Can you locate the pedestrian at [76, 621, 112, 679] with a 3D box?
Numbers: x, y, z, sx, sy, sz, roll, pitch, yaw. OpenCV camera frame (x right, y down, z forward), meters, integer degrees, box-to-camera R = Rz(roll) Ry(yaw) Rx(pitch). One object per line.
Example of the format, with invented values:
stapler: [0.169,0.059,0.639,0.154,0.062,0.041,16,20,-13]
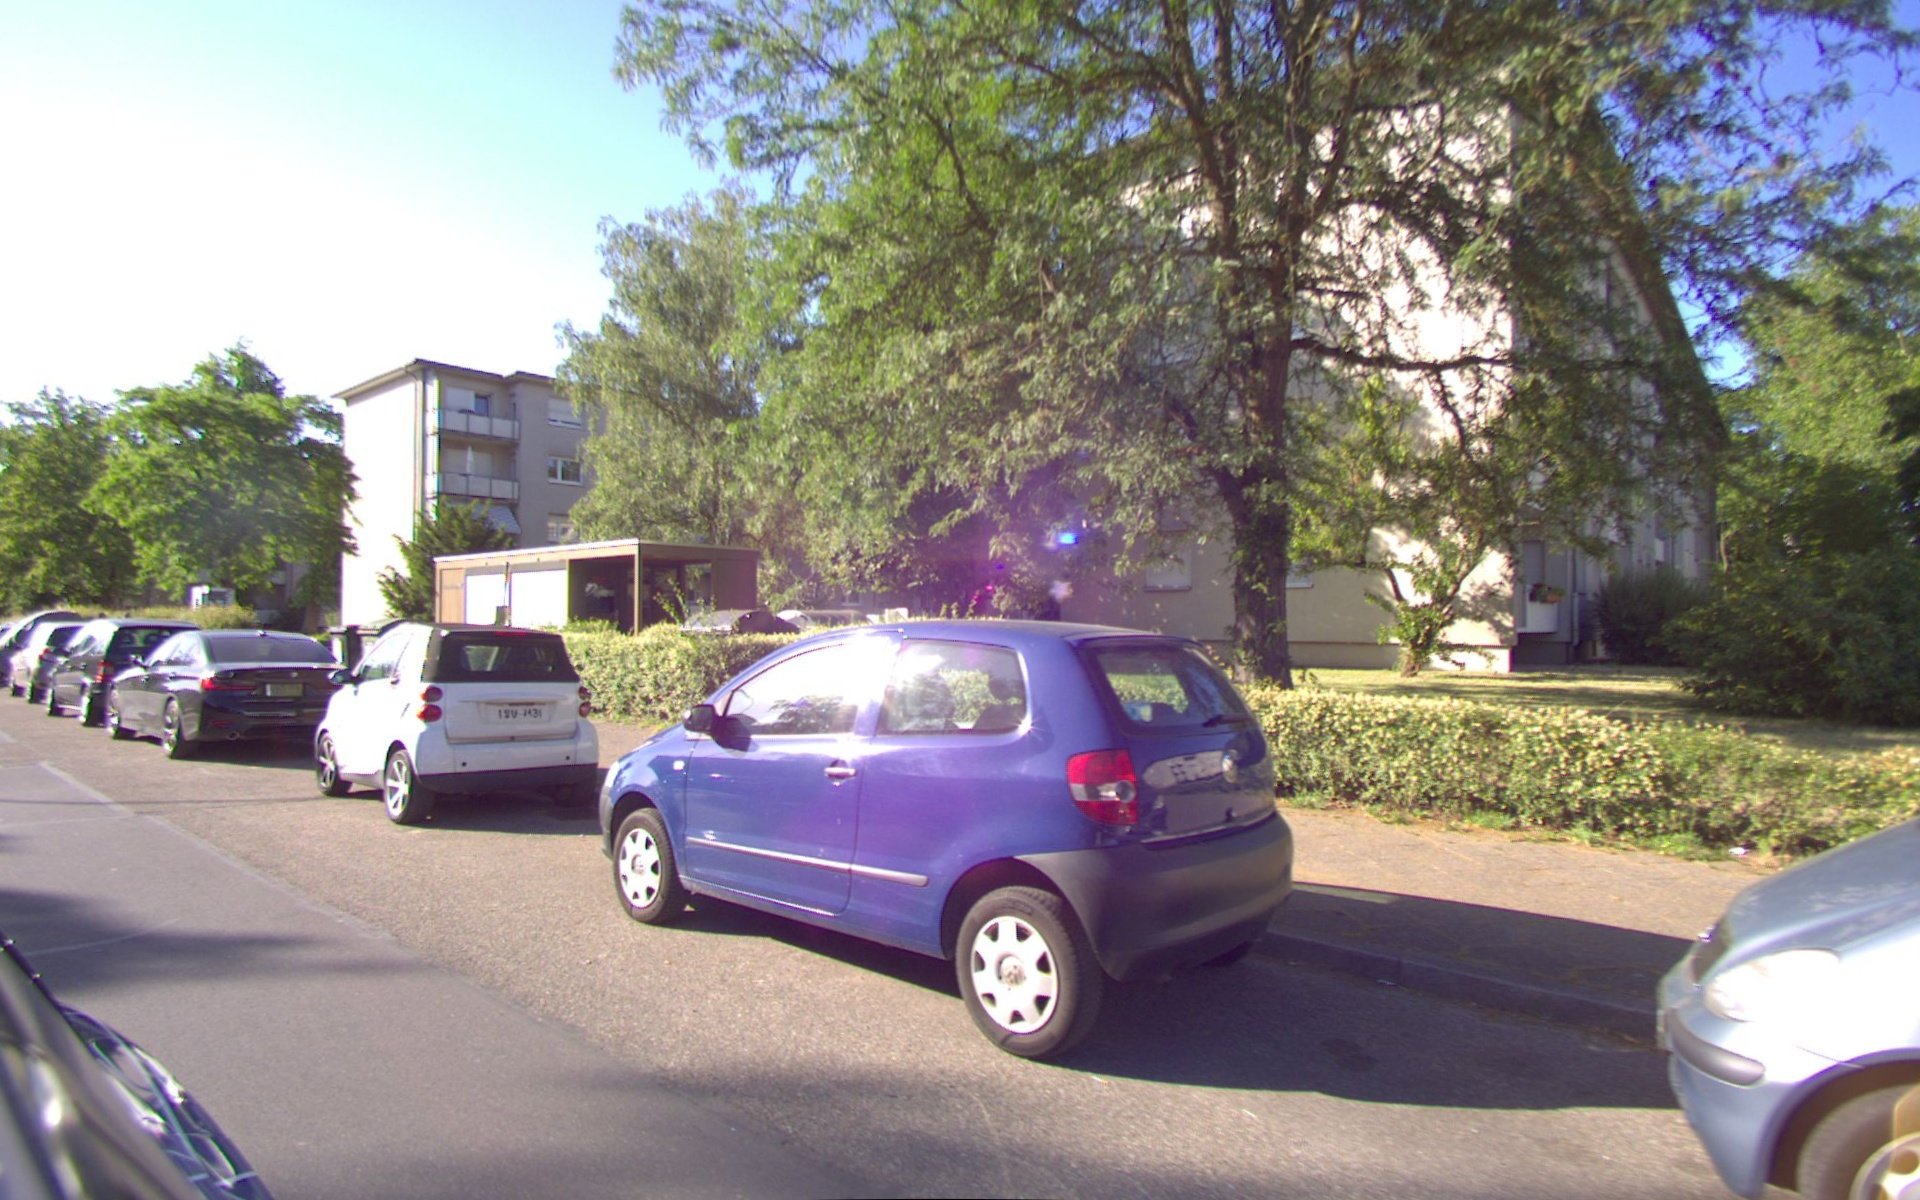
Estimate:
pedestrian: [-25.760,1.489,30.091,0.616,1.692,0.713,-2,-2,40]

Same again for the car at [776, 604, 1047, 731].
car: [-0.804,0.918,15.040,3.995,1.653,1.555,-1,-1,39]

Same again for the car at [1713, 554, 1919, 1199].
car: [3.569,0.717,1.766,3.531,1.618,1.619,-1,-3,39]

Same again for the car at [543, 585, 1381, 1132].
car: [-0.244,0.852,5.002,3.966,1.618,1.736,-2,-4,41]

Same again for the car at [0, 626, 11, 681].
car: [-30.991,1.612,31.386,4.367,1.648,1.736,-2,-4,40]

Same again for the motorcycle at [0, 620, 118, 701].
motorcycle: [-20.475,1.359,22.686,0.931,1.740,2.235,-1,-4,37]

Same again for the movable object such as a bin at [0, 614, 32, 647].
movable object such as a bin: [-43.230,1.394,46.244,1.325,1.426,0.992,-1,1,39]

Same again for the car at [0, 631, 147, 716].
car: [-17.519,1.392,19.882,3.958,1.492,1.735,-2,-4,42]

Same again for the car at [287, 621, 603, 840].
car: [-4.640,1.021,8.970,3.141,1.586,1.429,-2,-4,42]

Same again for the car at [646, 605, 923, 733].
car: [-2.529,0.876,14.097,3.995,1.537,1.555,-1,-1,39]

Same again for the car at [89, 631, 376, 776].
car: [-9.153,1.156,12.583,4.533,1.492,1.737,-1,-4,39]

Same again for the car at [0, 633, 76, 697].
car: [-23.009,1.528,24.528,4.266,1.432,1.736,-2,-4,40]

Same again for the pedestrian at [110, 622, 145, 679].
pedestrian: [-25.261,1.512,30.700,0.599,1.692,0.713,-2,-2,40]

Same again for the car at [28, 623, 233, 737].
car: [-13.162,1.196,16.002,3.716,1.586,1.737,-1,-4,39]

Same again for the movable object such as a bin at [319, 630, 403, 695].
movable object such as a bin: [-12.555,1.285,21.212,1.342,1.297,1.165,-2,-2,41]

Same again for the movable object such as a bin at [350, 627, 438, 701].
movable object such as a bin: [-11.429,1.267,20.440,1.342,1.419,1.165,-2,-2,41]

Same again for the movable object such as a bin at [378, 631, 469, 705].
movable object such as a bin: [-10.372,1.283,19.556,1.343,1.350,1.165,-2,-2,42]
